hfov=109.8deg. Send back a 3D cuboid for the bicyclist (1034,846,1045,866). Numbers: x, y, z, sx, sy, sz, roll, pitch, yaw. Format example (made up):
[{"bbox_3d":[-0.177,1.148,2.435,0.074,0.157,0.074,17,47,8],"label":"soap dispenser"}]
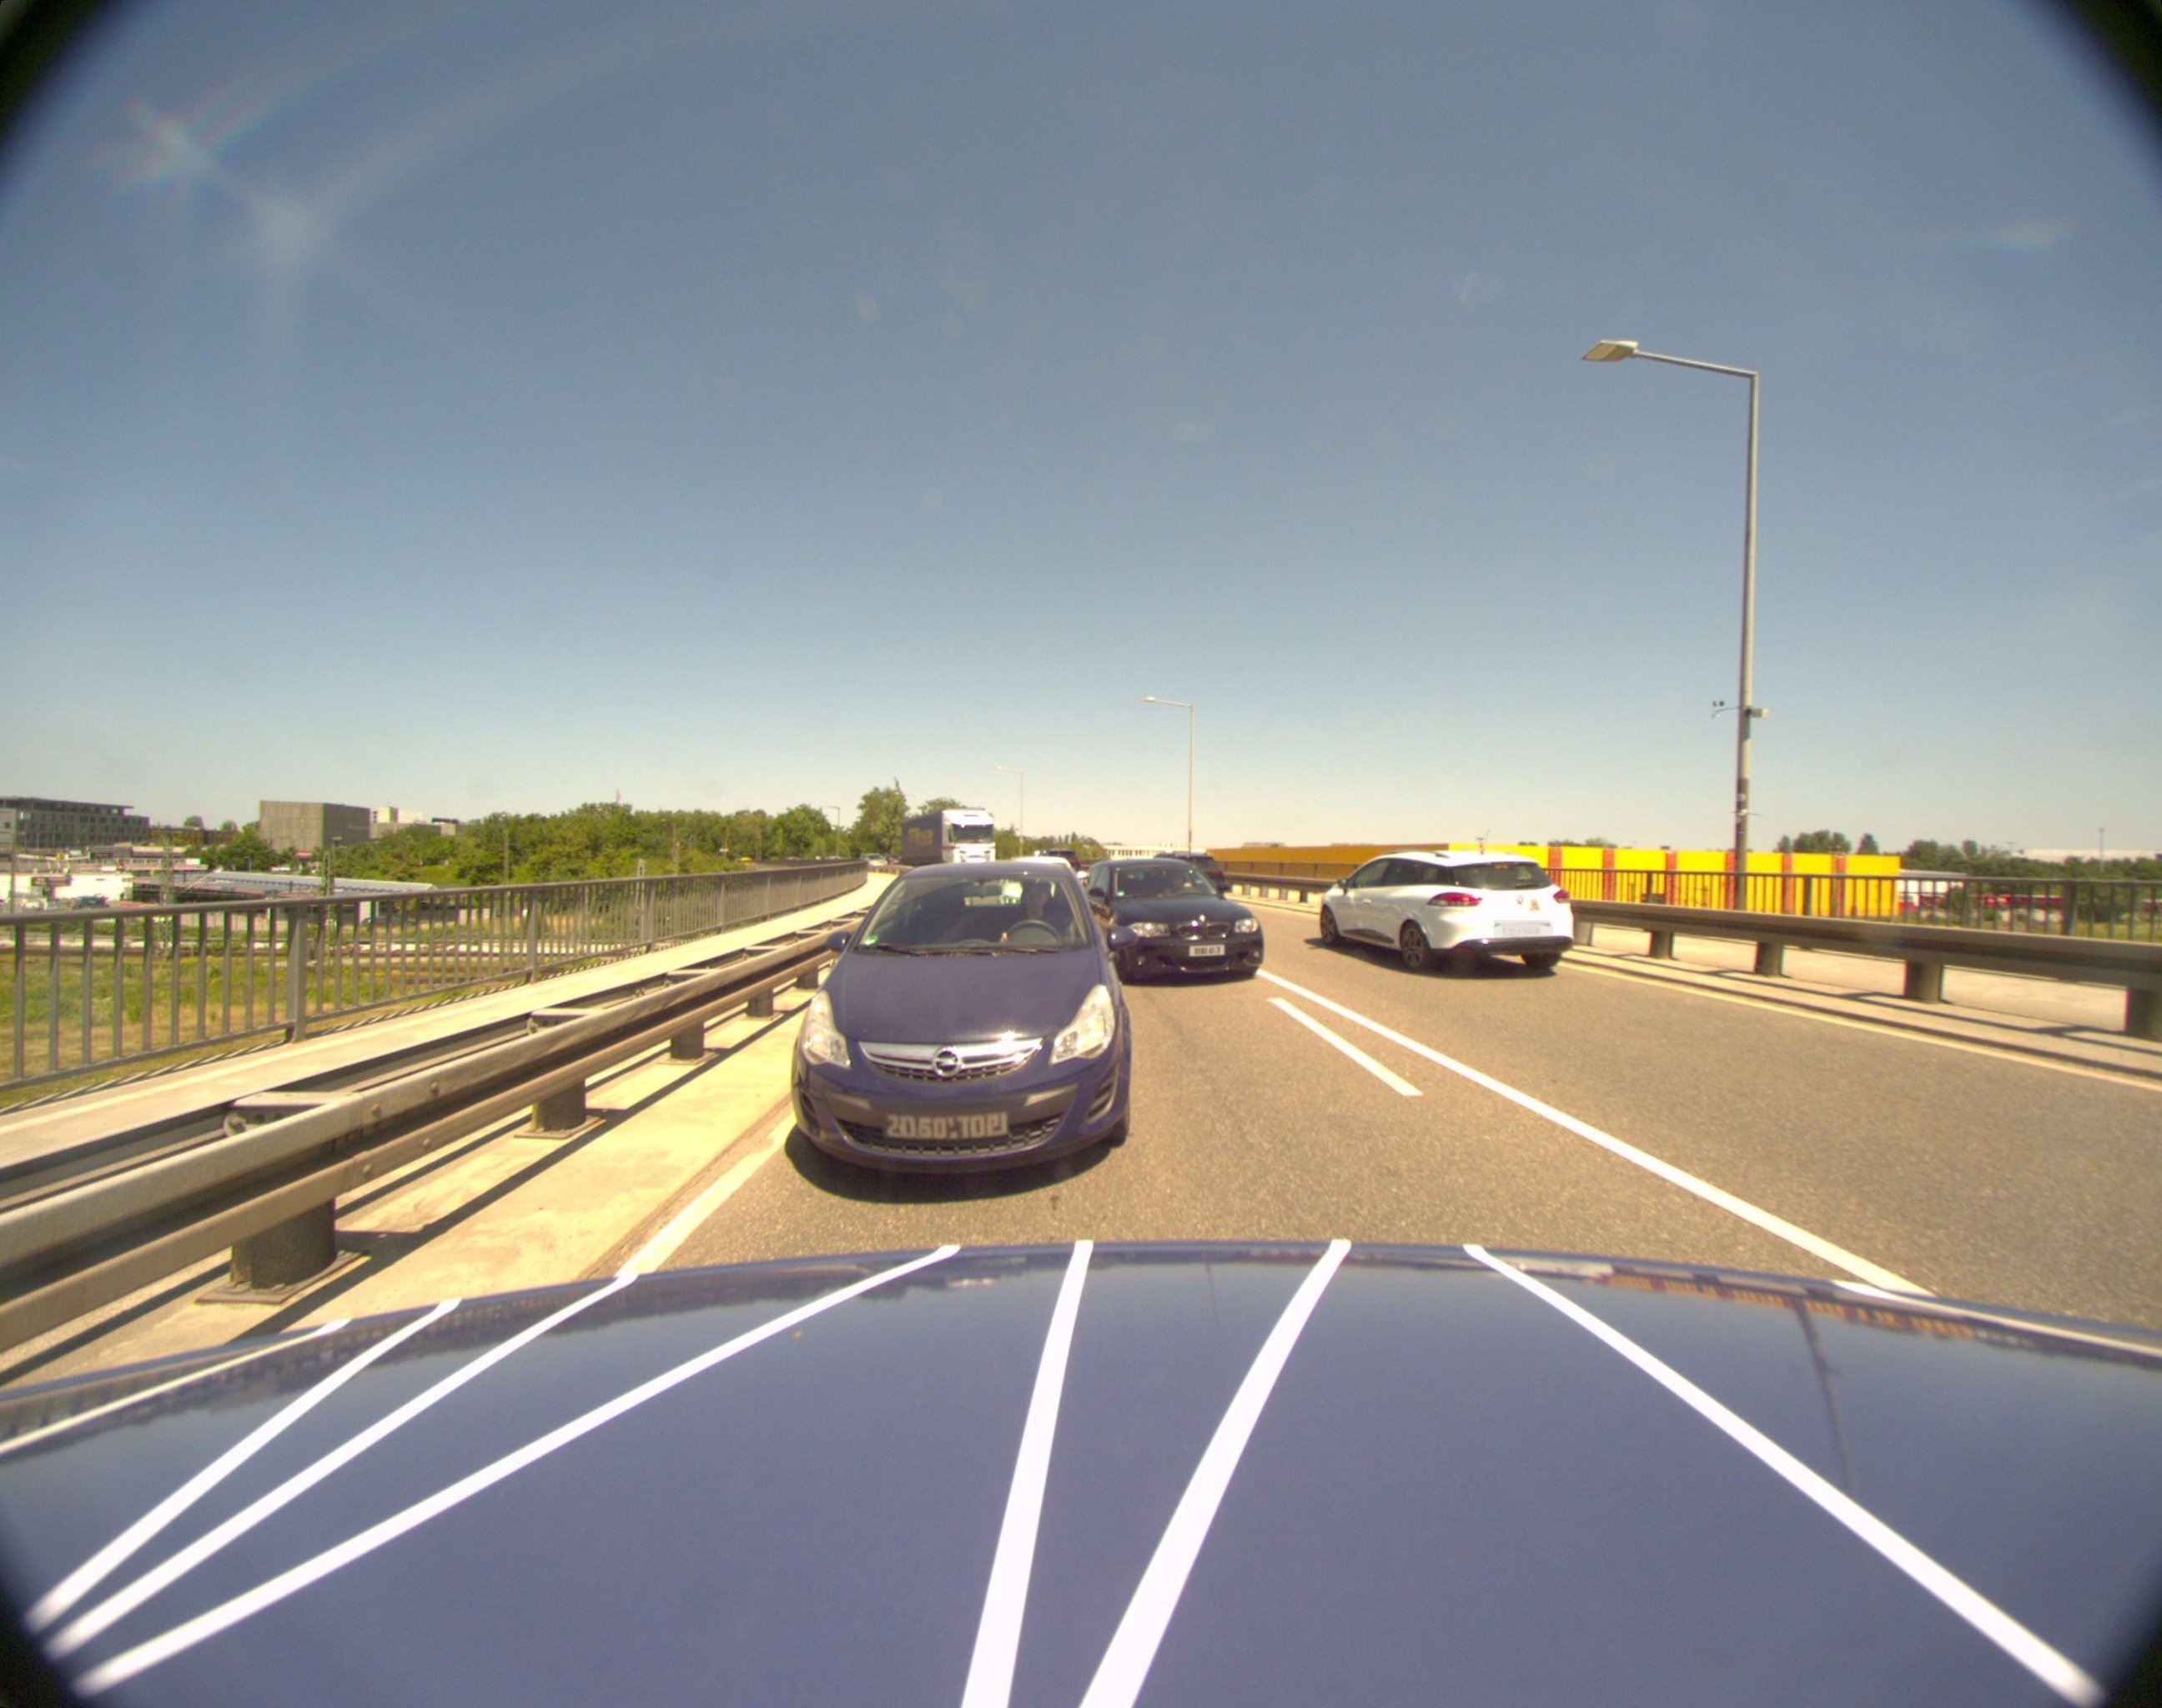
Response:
[{"bbox_3d":[-3.162,0.164,57.779,0.585,1.512,0.894,-1,1,-19],"label":"bicyclist"}]

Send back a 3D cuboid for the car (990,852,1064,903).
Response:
[{"bbox_3d":[-1.854,0.701,24.803,1.796,1.446,4.518,-2,0,-11],"label":"car"}]

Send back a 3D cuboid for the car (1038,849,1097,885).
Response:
[{"bbox_3d":[-0.733,0.588,37.906,1.973,1.663,4.607,-1,0,-14],"label":"car"}]

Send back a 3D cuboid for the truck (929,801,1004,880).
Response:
[{"bbox_3d":[-6.845,-0.773,44.590,2.699,4.205,6.826,-3,2,-21],"label":"truck"}]

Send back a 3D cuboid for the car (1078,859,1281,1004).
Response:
[{"bbox_3d":[1.067,0.840,10.453,1.795,1.447,4.520,-1,1,-5],"label":"car"}]

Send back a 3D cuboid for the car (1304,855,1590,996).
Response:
[{"bbox_3d":[4.525,0.763,10.152,1.604,1.441,4.053,-1,1,-5],"label":"car"}]

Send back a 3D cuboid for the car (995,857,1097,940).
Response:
[{"bbox_3d":[-0.894,0.835,16.476,1.795,1.447,4.519,-2,1,-7],"label":"car"}]

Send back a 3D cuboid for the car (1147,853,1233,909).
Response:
[{"bbox_3d":[3.159,0.721,22.851,1.715,1.460,4.458,-1,0,-3],"label":"car"}]

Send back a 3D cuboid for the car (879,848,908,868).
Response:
[{"bbox_3d":[-19.828,0.442,80.211,2.003,2.002,3.992,-2,0,-27],"label":"car"}]

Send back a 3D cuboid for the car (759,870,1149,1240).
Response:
[{"bbox_3d":[-0.661,0.910,5.313,1.645,1.431,3.998,-2,1,-4],"label":"car"}]

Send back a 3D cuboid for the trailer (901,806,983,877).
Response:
[{"bbox_3d":[-9.772,-0.842,51.741,2.705,4.211,12.687,-2,2,-23],"label":"trailer"}]

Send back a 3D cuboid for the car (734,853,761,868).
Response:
[{"bbox_3d":[-47.049,0.942,107.126,3.988,2.002,2.004,0,2,45],"label":"car"}]

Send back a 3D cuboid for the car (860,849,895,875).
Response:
[{"bbox_3d":[-19.068,0.797,71.200,2.002,2.001,3.993,-5,-1,-30],"label":"car"}]
